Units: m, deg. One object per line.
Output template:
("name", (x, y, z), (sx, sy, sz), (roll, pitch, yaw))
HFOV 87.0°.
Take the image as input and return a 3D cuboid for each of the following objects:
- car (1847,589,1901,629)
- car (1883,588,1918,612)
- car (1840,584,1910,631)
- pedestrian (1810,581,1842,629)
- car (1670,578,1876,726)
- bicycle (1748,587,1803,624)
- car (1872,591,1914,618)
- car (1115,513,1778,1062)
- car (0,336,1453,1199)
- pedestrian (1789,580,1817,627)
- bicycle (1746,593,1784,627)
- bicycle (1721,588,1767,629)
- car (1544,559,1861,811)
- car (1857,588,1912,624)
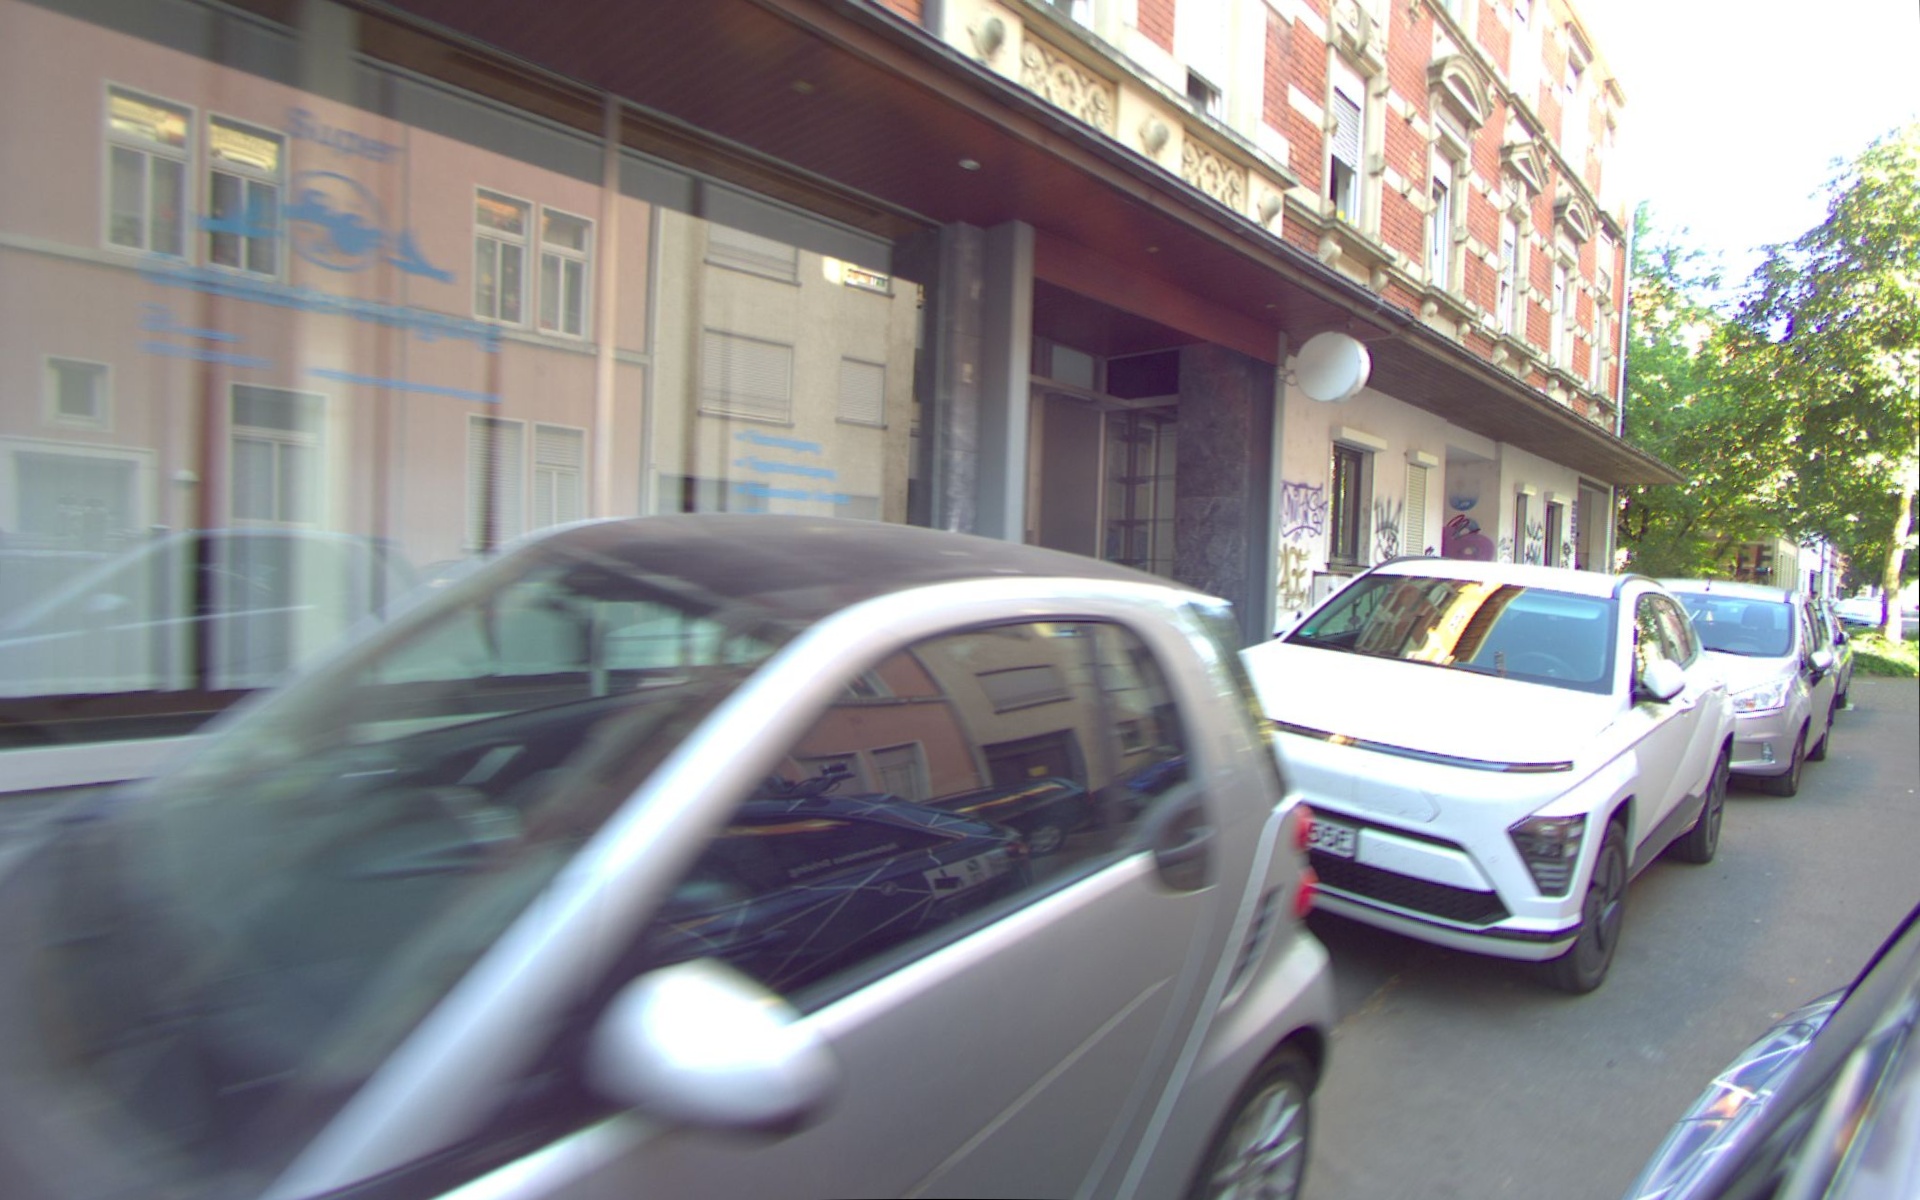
("car", (40.827, 0.378, 45.193), (1.594, 1.604, 3.704), (5, 4, 43))
("car", (87.295, 0.011, 93.905), (4.405, 2.004, 1.865), (0, 5, -43))
("car", (34.023, 0.224, 37.698), (1.721, 1.511, 4.348), (7, 5, 41))
("pedestrian", (33.012, 0.184, 38.582), (0.711, 1.729, 0.740), (8, 5, 43))
("car", (10.824, 0.565, 13.359), (1.722, 1.581, 4.329), (3, 2, 43))
("bicycle", (32.364, 0.208, 40.153), (2.288, 1.317, 1.293), (0, 5, -43))
("car", (59.346, 0.266, 64.359), (1.766, 1.535, 4.039), (7, 5, 43))
("car", (2.807, 0.515, 5.248), (1.748, 1.696, 4.270), (4, 3, 45))
("car", (-0.780, 0.578, 1.604), (3.751, 1.579, 1.598), (0, 3, -45))
("pedestrian", (32.296, 0.119, 38.773), (0.598, 1.729, 0.695), (8, 5, 43))
("bicycle", (30.498, 0.358, 38.339), (1.949, 1.215, 0.847), (1, 2, -45))
("bicycle", (26.714, 0.282, 34.476), (2.648, 1.283, 0.847), (1, 2, -45))
("car", (6.569, 0.540, 8.796), (1.641, 1.676, 3.807), (3, 3, 45))
("car", (47.148, 0.279, 51.600), (4.257, 1.687, 1.768), (0, 3, -45))
